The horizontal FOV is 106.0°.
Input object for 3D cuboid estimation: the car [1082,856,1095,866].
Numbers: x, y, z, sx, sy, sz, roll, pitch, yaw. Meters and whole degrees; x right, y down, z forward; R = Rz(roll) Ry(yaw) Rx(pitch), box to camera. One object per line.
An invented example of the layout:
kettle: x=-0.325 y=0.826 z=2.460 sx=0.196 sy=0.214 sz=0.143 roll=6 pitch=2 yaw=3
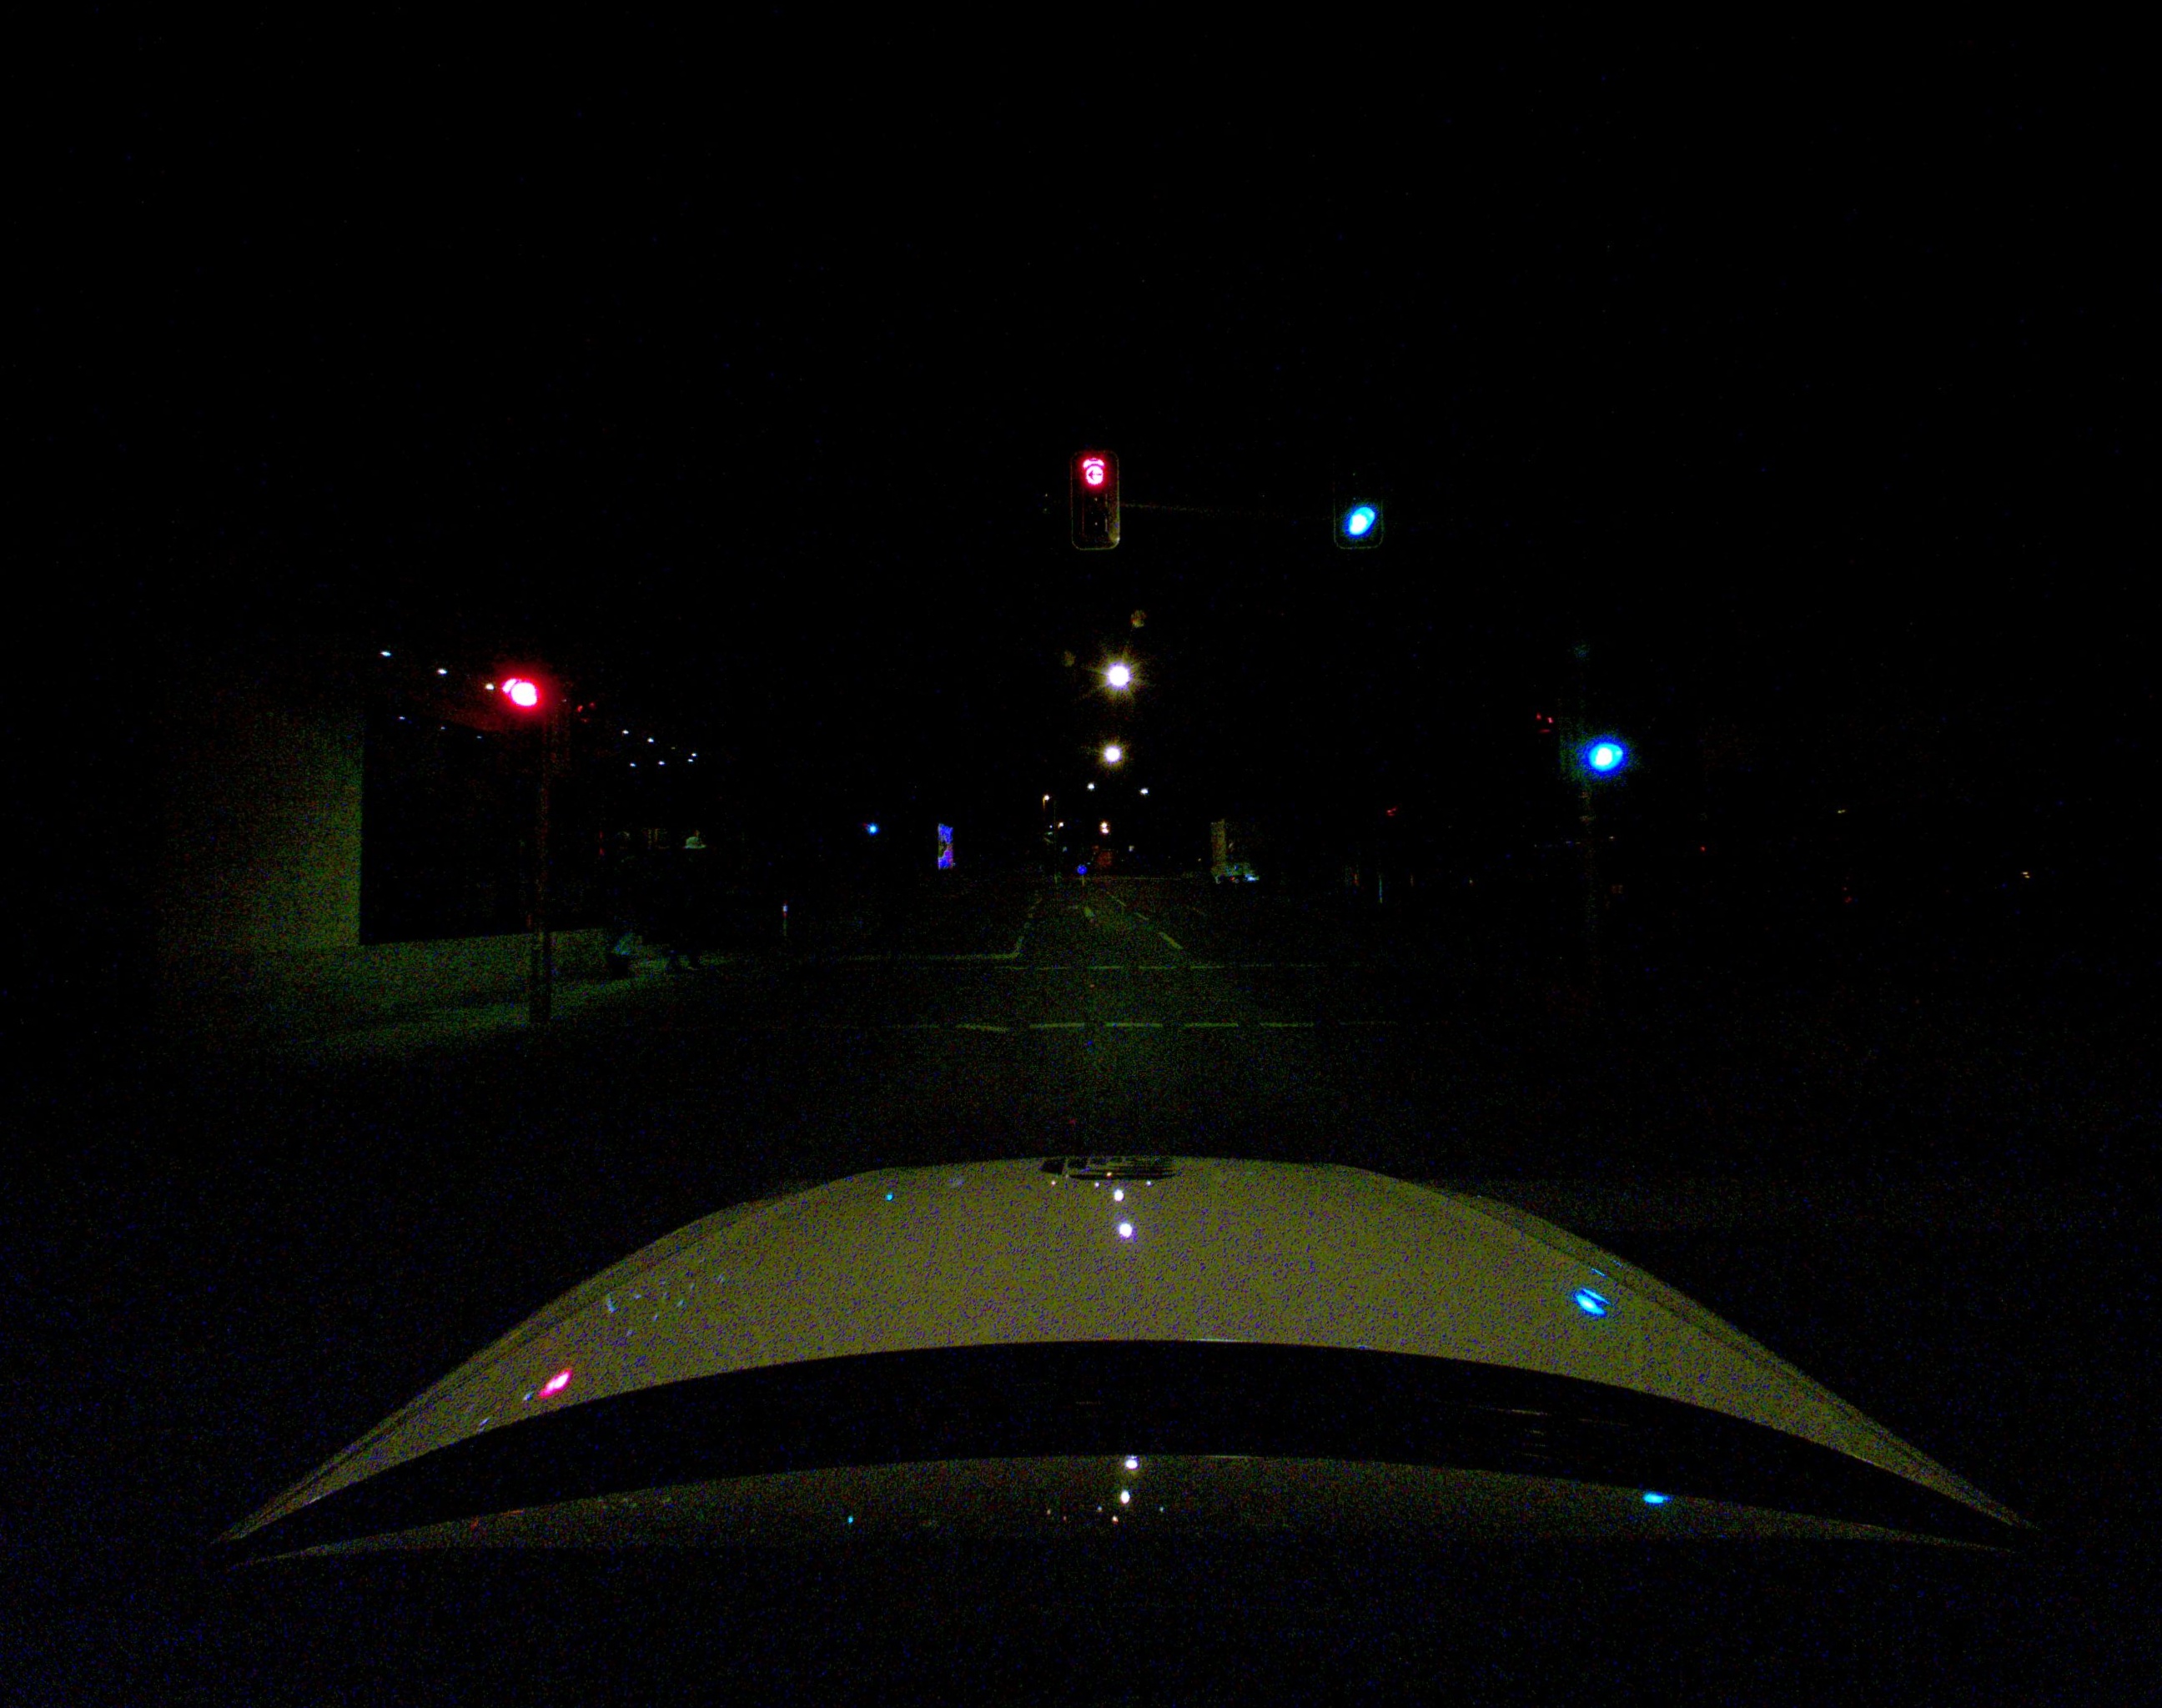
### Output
car: x=1.253 y=1.169 z=134.578 sx=1.901 sy=1.557 sz=3.906 roll=0 pitch=-1 yaw=2

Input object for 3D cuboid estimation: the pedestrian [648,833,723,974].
pedestrian: x=-5.189 y=0.635 z=10.722 sx=0.568 sy=1.778 sz=0.737 roll=1 pitch=-1 yaw=1

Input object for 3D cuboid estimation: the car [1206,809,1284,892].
car: x=6.765 y=-0.116 z=34.297 sx=2.287 sy=3.093 sz=5.845 roll=-2 pitch=-1 yaw=3

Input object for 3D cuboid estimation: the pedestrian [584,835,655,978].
pedestrian: x=-5.751 y=0.643 z=10.176 sx=0.568 sy=1.731 sz=0.544 roll=0 pitch=-1 yaw=1

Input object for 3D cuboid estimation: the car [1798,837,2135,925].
car: x=17.455 y=0.565 z=16.290 sx=4.342 sy=1.560 sz=1.807 roll=-2 pitch=-3 yaw=8
